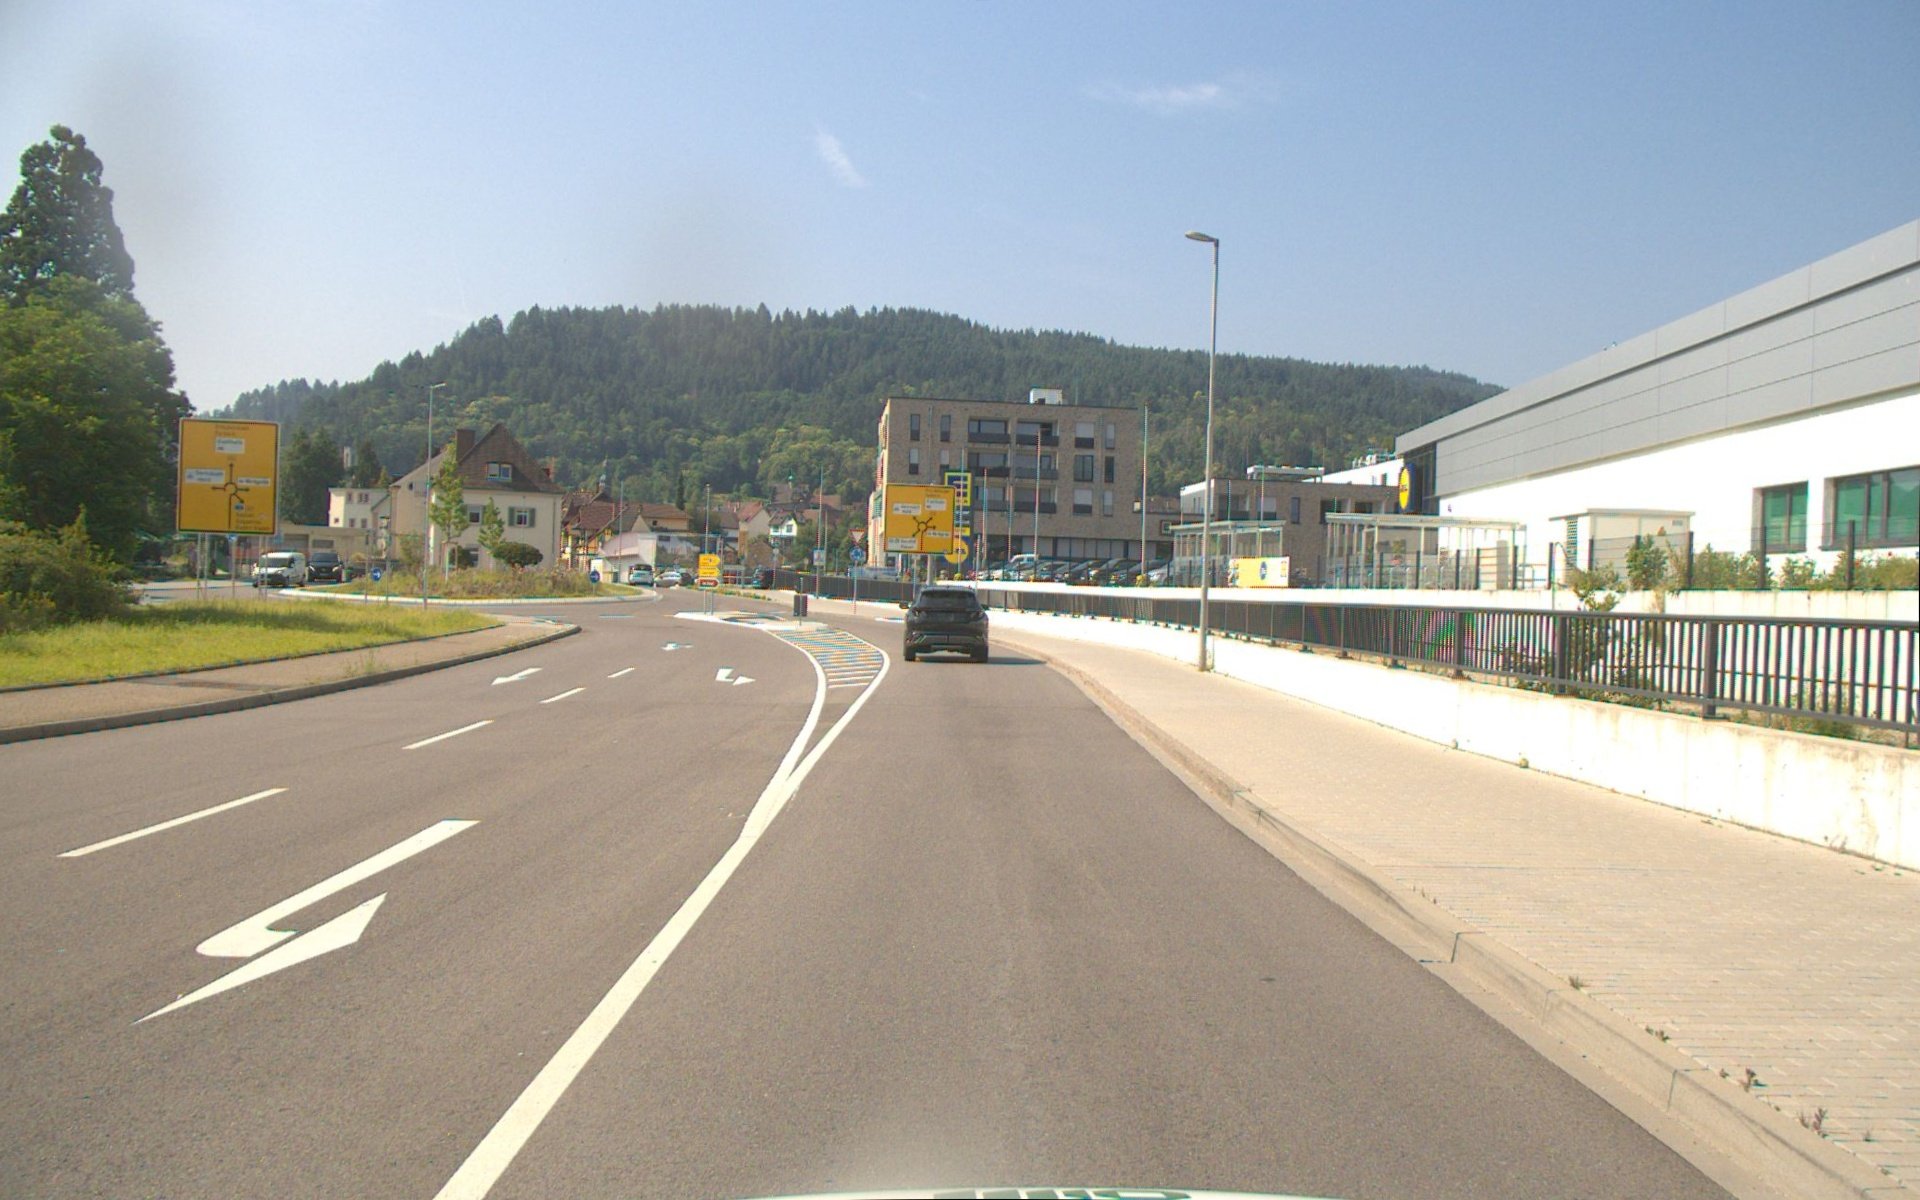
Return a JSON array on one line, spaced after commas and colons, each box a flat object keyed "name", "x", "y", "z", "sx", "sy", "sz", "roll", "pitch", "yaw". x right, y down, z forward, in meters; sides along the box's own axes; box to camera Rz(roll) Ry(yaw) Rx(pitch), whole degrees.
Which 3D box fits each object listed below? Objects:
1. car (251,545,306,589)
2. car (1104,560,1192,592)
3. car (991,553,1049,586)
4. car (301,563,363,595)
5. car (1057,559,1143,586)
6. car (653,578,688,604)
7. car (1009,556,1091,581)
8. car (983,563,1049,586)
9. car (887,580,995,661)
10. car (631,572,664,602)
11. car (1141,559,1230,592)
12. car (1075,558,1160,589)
[{"name": "car", "x": -36.798, "y": -1.808, "z": 89.401, "sx": 1.774, "sy": 2.113, "sz": 4.594, "roll": 2, "pitch": 3, "yaw": -11}, {"name": "car", "x": 9.088, "y": -1.163, "z": 79.976, "sx": 4.001, "sy": 1.428, "sz": 1.478, "roll": 2, "pitch": 1, "yaw": -20}, {"name": "car", "x": 4.103, "y": -2.075, "z": 113.561, "sx": 3.904, "sy": 2.173, "sz": 2.001, "roll": 1, "pitch": 0, "yaw": 2}, {"name": "car", "x": -39.855, "y": -1.322, "z": 105.039, "sx": 1.801, "sy": 1.980, "sz": 4.884, "roll": 1, "pitch": 0, "yaw": 4}, {"name": "car", "x": 7.350, "y": -1.437, "z": 86.958, "sx": 4.150, "sy": 1.267, "sz": 1.734, "roll": 2, "pitch": 1, "yaw": -20}, {"name": "car", "x": -23.474, "y": -0.705, "z": 133.983, "sx": 1.966, "sy": 2.049, "sz": 3.973, "roll": 1, "pitch": 0, "yaw": -22}, {"name": "car", "x": 5.019, "y": -1.754, "z": 92.296, "sx": 4.214, "sy": 1.267, "sz": 1.655, "roll": 2, "pitch": 1, "yaw": -20}, {"name": "car", "x": 3.317, "y": -1.525, "z": 97.726, "sx": 3.502, "sy": 1.220, "sz": 1.705, "roll": 2, "pitch": 1, "yaw": -19}, {"name": "car", "x": -0.492, "y": 0.441, "z": 37.297, "sx": 1.846, "sy": 1.713, "sz": 3.991, "roll": 1, "pitch": 0, "yaw": -9}, {"name": "car", "x": -21.914, "y": -0.907, "z": 115.938, "sx": 1.955, "sy": 2.049, "sz": 3.994, "roll": 1, "pitch": 0, "yaw": -7}, {"name": "car", "x": 10.504, "y": -1.149, "z": 76.927, "sx": 3.748, "sy": 1.388, "sz": 1.671, "roll": 2, "pitch": 1, "yaw": -20}, {"name": "car", "x": 7.958, "y": -1.340, "z": 83.612, "sx": 3.945, "sy": 1.428, "sz": 1.715, "roll": 2, "pitch": 1, "yaw": -20}]
